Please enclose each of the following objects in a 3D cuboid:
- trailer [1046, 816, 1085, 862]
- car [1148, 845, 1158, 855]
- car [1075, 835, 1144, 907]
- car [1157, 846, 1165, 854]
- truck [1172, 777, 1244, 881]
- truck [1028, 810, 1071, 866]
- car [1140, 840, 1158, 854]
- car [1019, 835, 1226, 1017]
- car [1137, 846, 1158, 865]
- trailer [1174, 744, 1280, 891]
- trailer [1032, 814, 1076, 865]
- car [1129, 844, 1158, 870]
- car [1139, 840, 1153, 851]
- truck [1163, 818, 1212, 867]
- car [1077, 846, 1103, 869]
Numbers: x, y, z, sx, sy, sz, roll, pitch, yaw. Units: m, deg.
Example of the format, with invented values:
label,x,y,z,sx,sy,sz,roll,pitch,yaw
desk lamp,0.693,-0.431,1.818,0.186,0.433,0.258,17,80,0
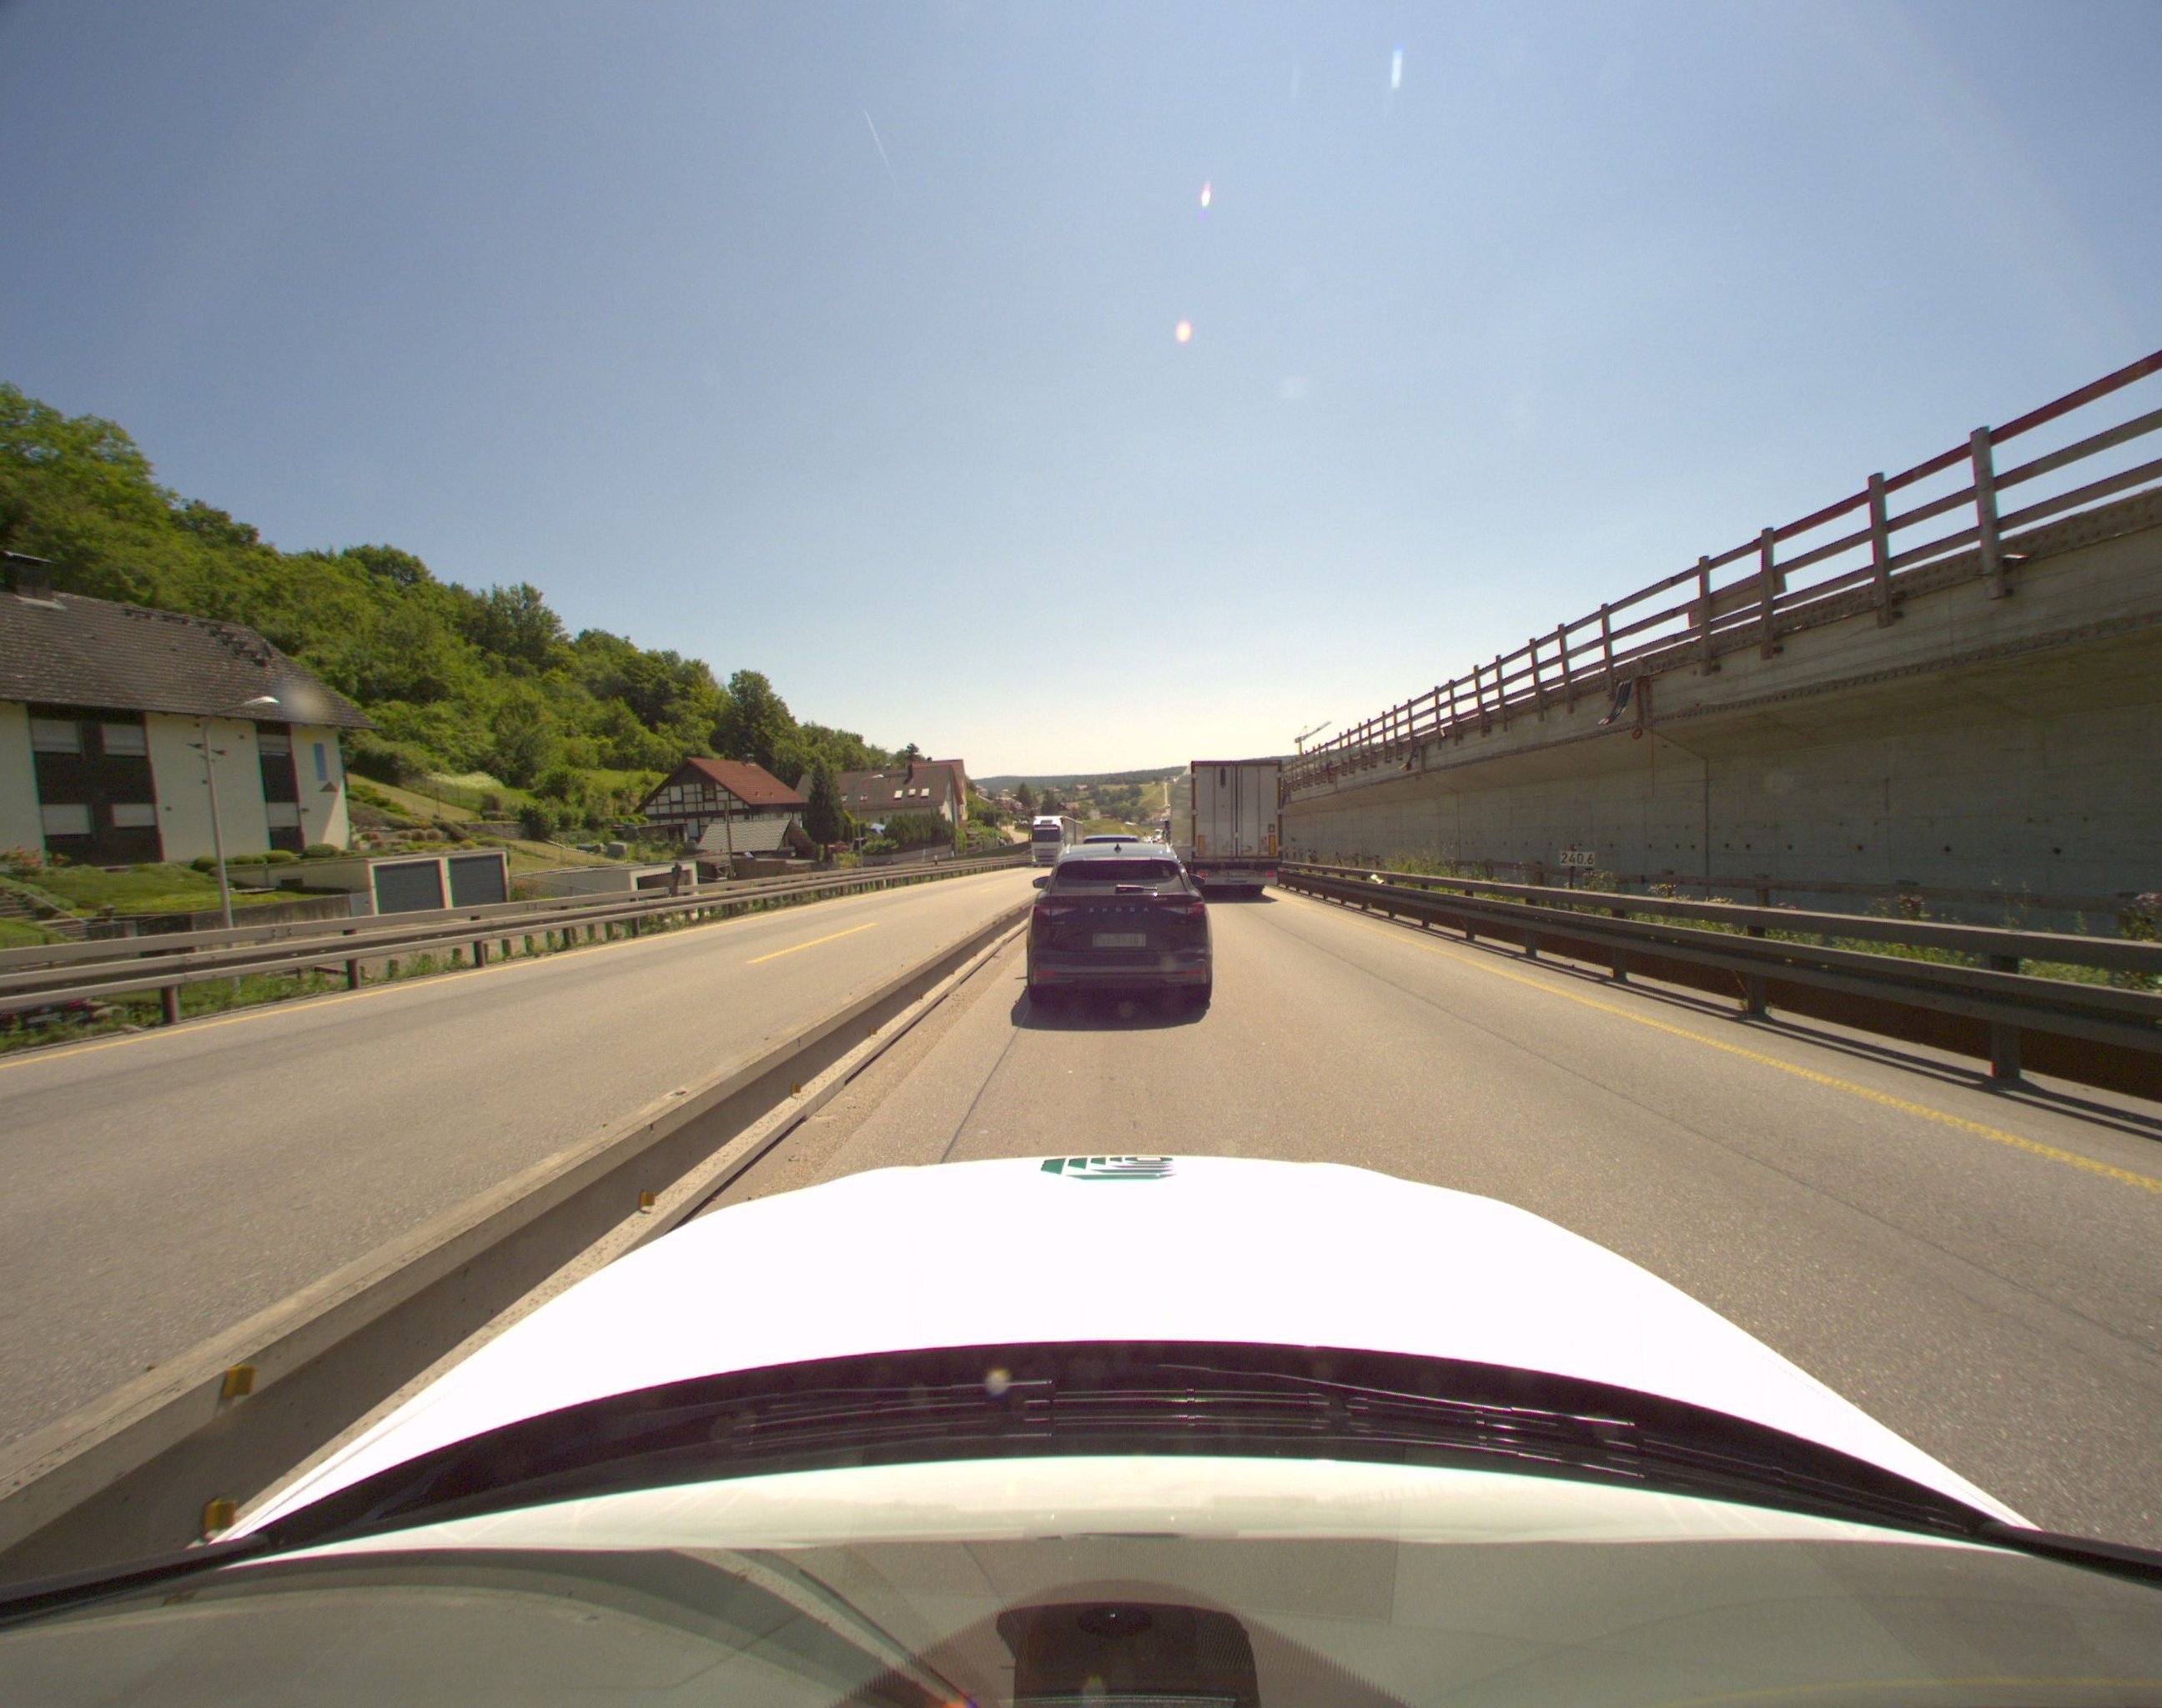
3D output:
label,x,y,z,sx,sy,sz,roll,pitch,yaw
trailer,-1.405,-1.451,77.437,2.744,4.070,8.648,0,1,5
car,12.762,-0.695,143.822,1.692,1.728,3.843,-1,-1,6
car,0.742,0.408,23.212,1.702,1.881,3.997,0,1,-2
car,17.448,-0.854,176.781,1.692,1.728,3.843,-1,-1,6
truck,5.369,-0.921,35.665,2.501,4.025,8.248,0,-1,5
truck,-2.477,-1.273,65.620,2.739,4.283,4.964,0,0,5
car,8.018,-0.803,96.795,1.985,1.585,3.839,0,-1,3
car,0.314,0.654,9.176,1.838,1.586,3.904,0,-1,-2
car,5.960,0.091,73.826,1.700,1.622,4.002,0,1,2
trailer,4.757,-0.962,28.704,2.520,4.127,11.561,0,-1,4
trailer,-2.191,-1.214,69.137,2.744,4.070,8.019,0,1,5
car,4.058,0.172,53.385,1.700,1.622,4.002,0,1,2
car,9.496,-1.211,119.066,1.985,1.585,3.839,0,-1,3
truck,7.716,-0.690,60.520,3.179,3.191,12.827,-1,-1,5
car,0.702,0.243,59.874,1.852,1.611,4.070,0,-1,2
